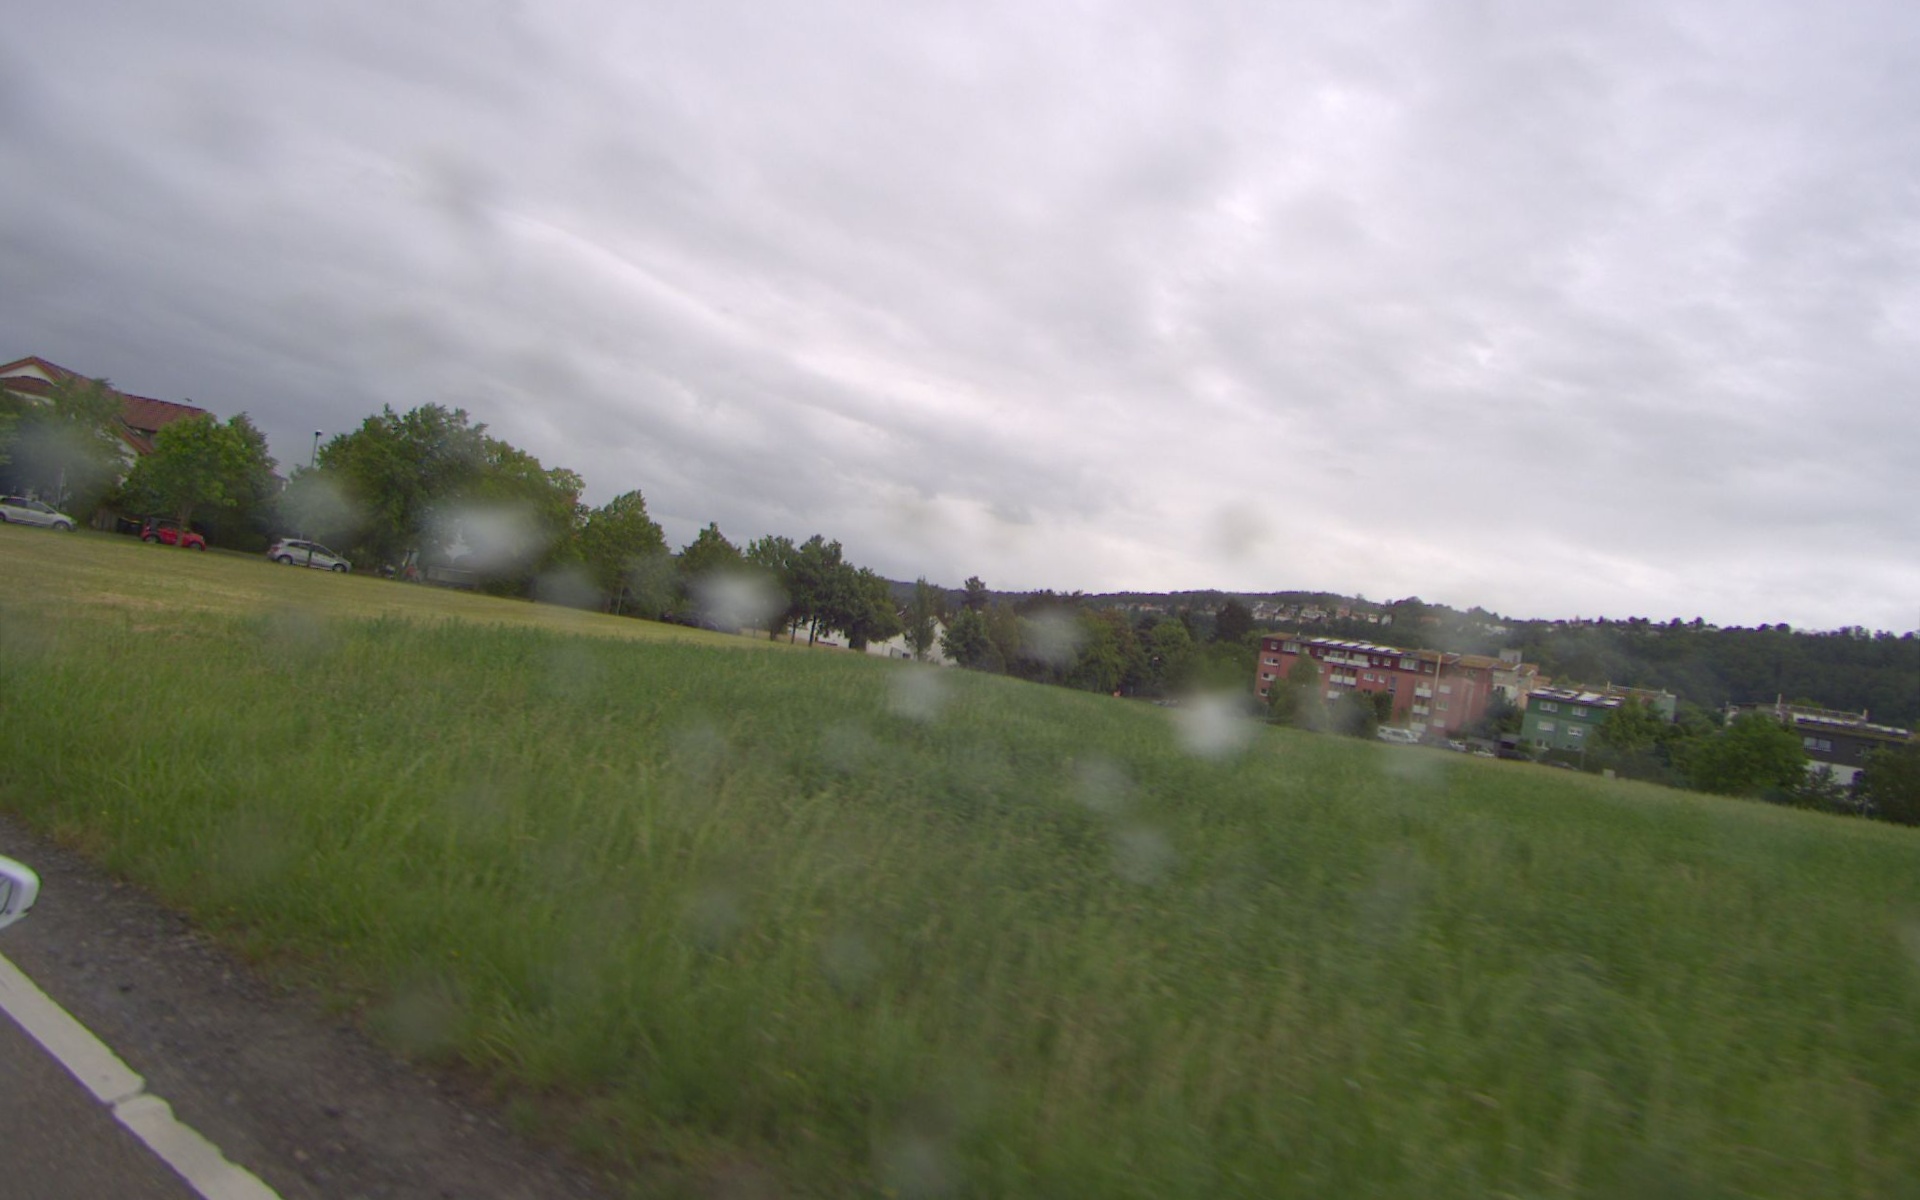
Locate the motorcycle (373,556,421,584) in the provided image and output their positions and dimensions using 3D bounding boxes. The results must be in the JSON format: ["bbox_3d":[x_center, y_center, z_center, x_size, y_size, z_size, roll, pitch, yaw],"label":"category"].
[{"bbox_3d":[-34.460,-1.837,61.586,0.958,1.316,2.256,7,-3,43],"label":"motorcycle"}]

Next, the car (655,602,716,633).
[{"bbox_3d":[-21.095,1.354,77.442,1.935,1.623,3.990,7,-5,41],"label":"car"}]

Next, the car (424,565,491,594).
[{"bbox_3d":[-32.205,-1.328,64.514,1.711,1.295,3.314,6,-3,43],"label":"car"}]

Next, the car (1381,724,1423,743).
[{"bbox_3d":[65.966,19.961,150.295,1.987,2.036,5.222,9,-3,-41],"label":"car"}]

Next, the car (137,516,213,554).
[{"bbox_3d":[-42.276,-3.482,54.195,2.994,1.452,1.536,10,-4,-41],"label":"car"}]

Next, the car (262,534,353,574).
[{"bbox_3d":[-37.982,-2.649,58.617,1.828,1.569,3.974,6,-4,43],"label":"car"}]

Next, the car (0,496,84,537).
[{"bbox_3d":[-46.289,-4.172,50.344,3.531,1.496,1.661,9,-3,-41],"label":"car"}]
